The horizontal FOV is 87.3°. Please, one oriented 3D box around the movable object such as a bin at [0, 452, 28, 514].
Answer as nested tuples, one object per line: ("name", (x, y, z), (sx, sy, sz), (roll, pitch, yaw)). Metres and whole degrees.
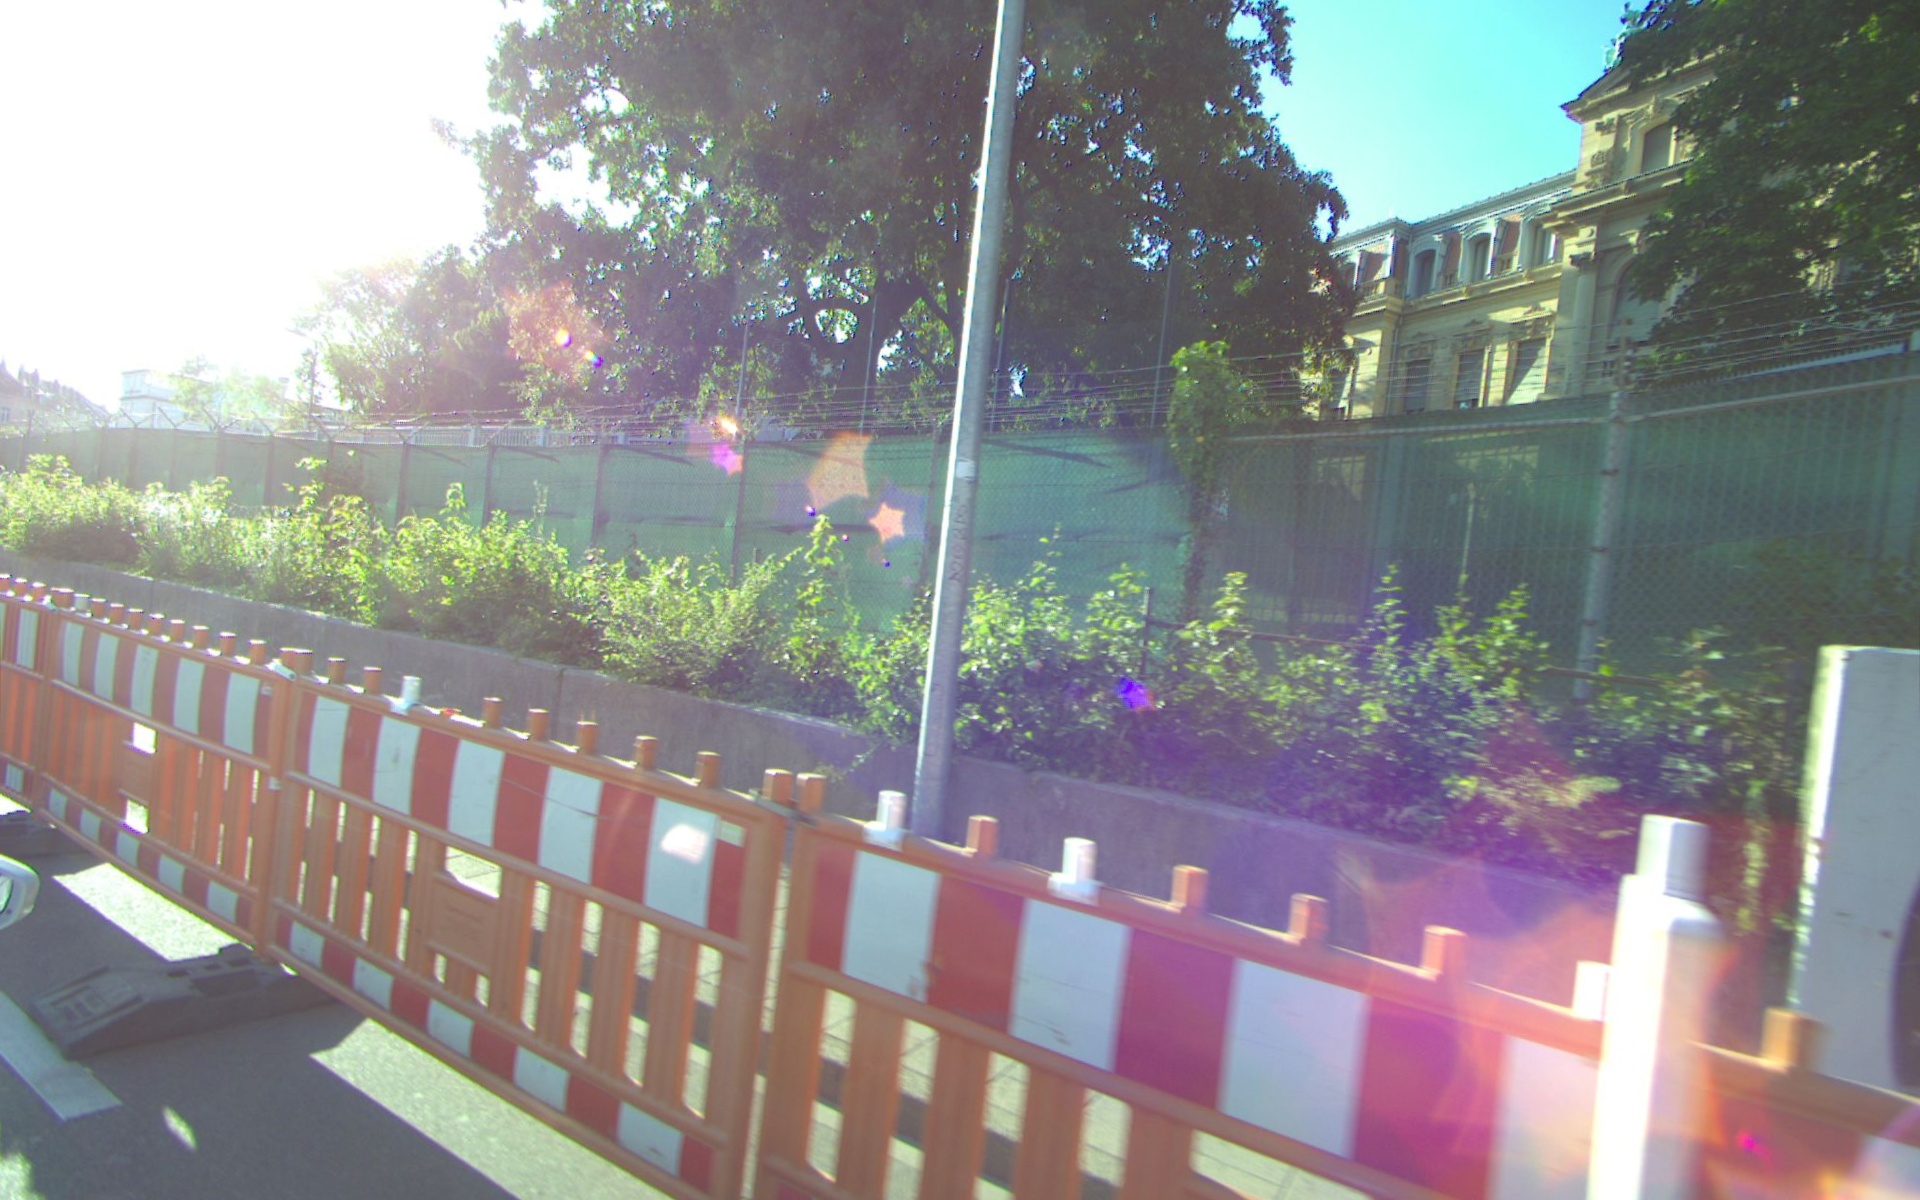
("movable object such as a bin", (-46.289, -5.698, 47.240), (4.860, 2.737, 2.278), (7, 0, 31))
